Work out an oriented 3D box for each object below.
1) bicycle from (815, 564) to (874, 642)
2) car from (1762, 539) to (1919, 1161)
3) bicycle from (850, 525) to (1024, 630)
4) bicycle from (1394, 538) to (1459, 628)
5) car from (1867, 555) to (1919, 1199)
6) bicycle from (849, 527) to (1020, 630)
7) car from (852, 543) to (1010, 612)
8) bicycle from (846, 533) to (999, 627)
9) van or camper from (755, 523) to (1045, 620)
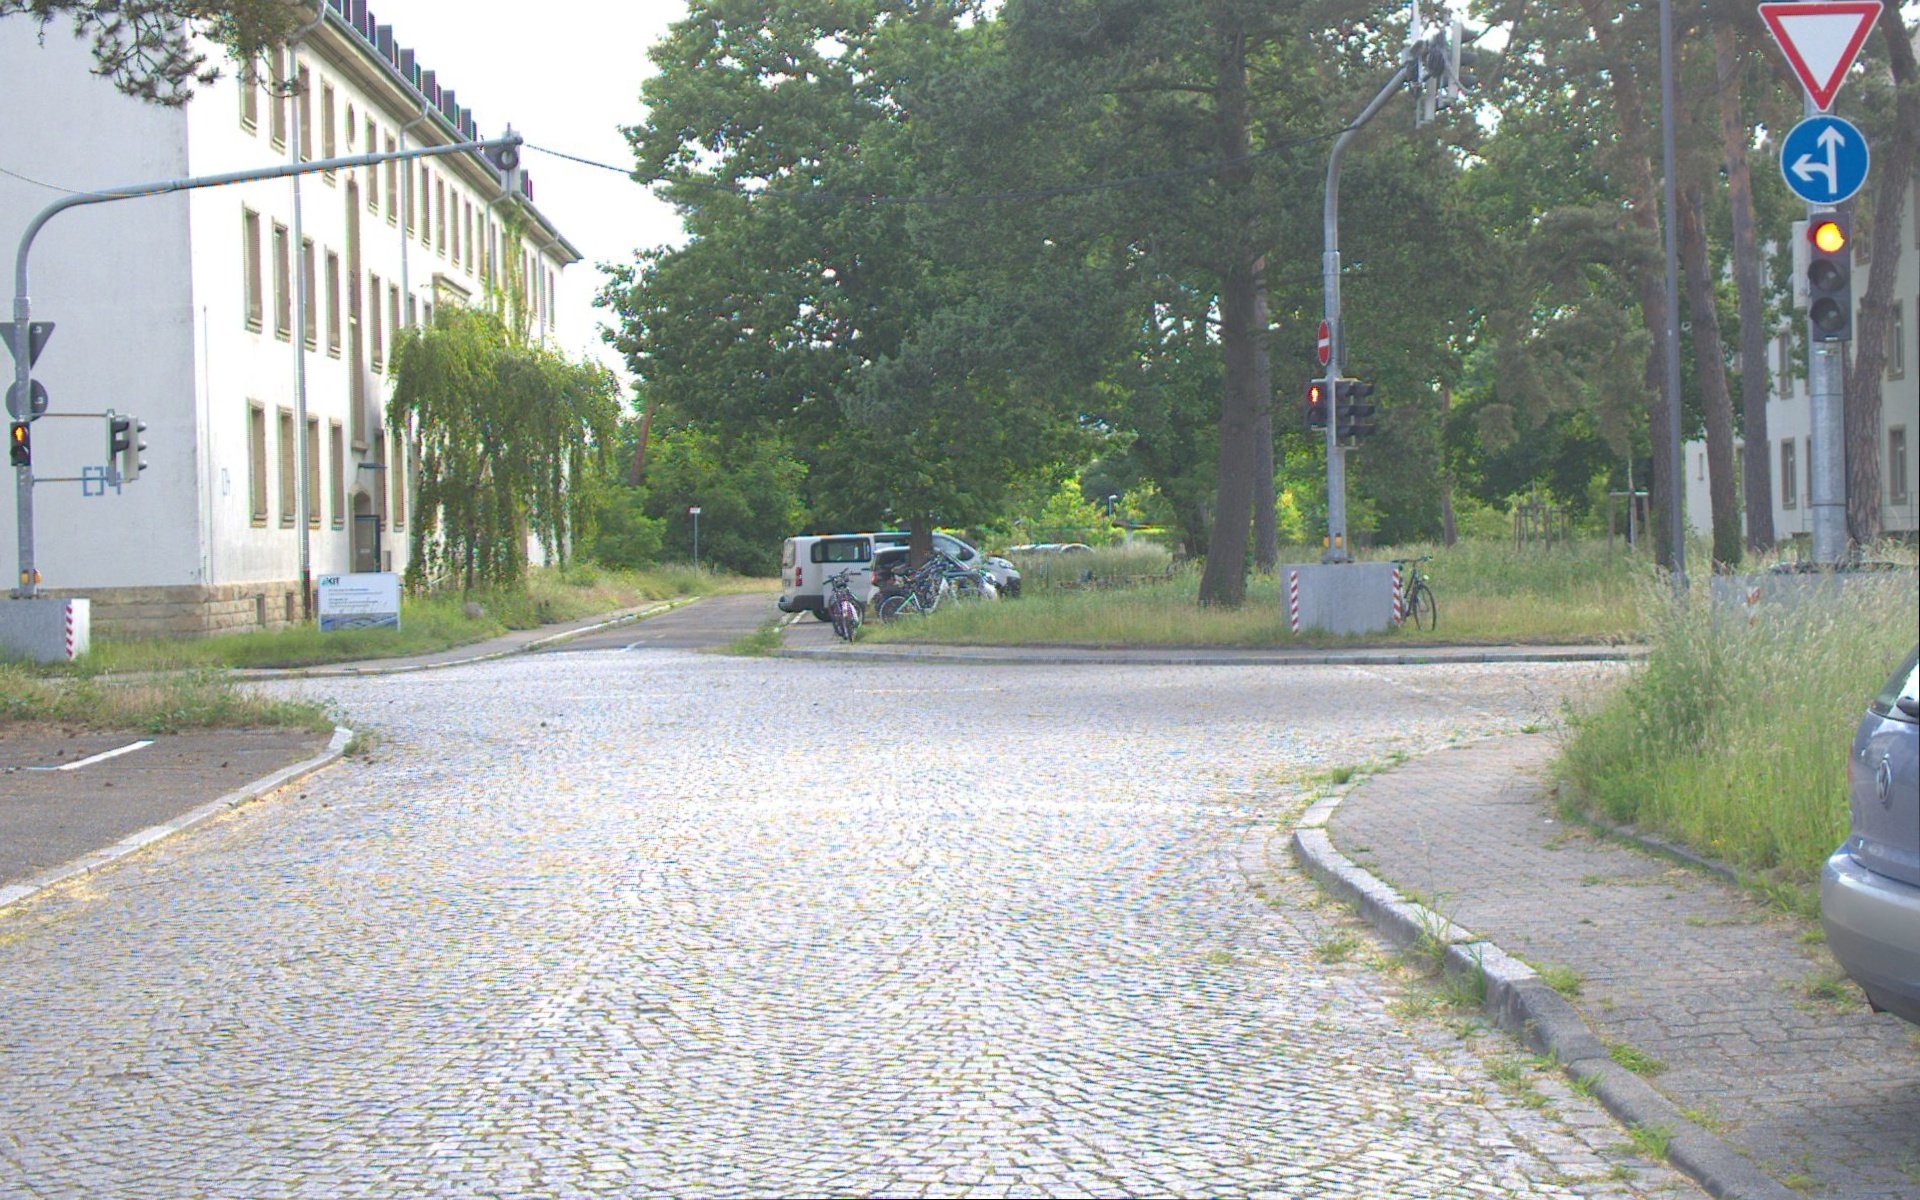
[{"bbox_3d":[-1.783,0.028,53.364,0.725,1.104,2.462,-6,1,0],"label":"bicycle"},{"bbox_3d":[4.165,0.530,8.663,3.842,1.466,1.642,-2,1,-2],"label":"car"},{"bbox_3d":[-0.392,-0.387,57.659,2.775,1.688,1.120,-1,1,-6],"label":"bicycle"},{"bbox_3d":[6.224,-0.233,45.950,0.724,1.165,2.736,1,1,5],"label":"bicycle"},{"bbox_3d":[4.121,0.613,6.054,4.512,1.478,1.808,-1,1,-3],"label":"car"},{"bbox_3d":[-0.444,-0.378,58.853,2.775,1.688,1.120,-1,1,-8],"label":"bicycle"},{"bbox_3d":[-0.622,-0.478,72.052,3.137,1.349,1.620,-1,1,-7],"label":"car"},{"bbox_3d":[-0.692,-0.369,63.754,2.775,1.688,1.120,1,1,0],"label":"bicycle"},{"bbox_3d":[-1.334,-0.639,75.618,6.030,1.942,2.001,-2,1,-14],"label":"van or camper"}]
